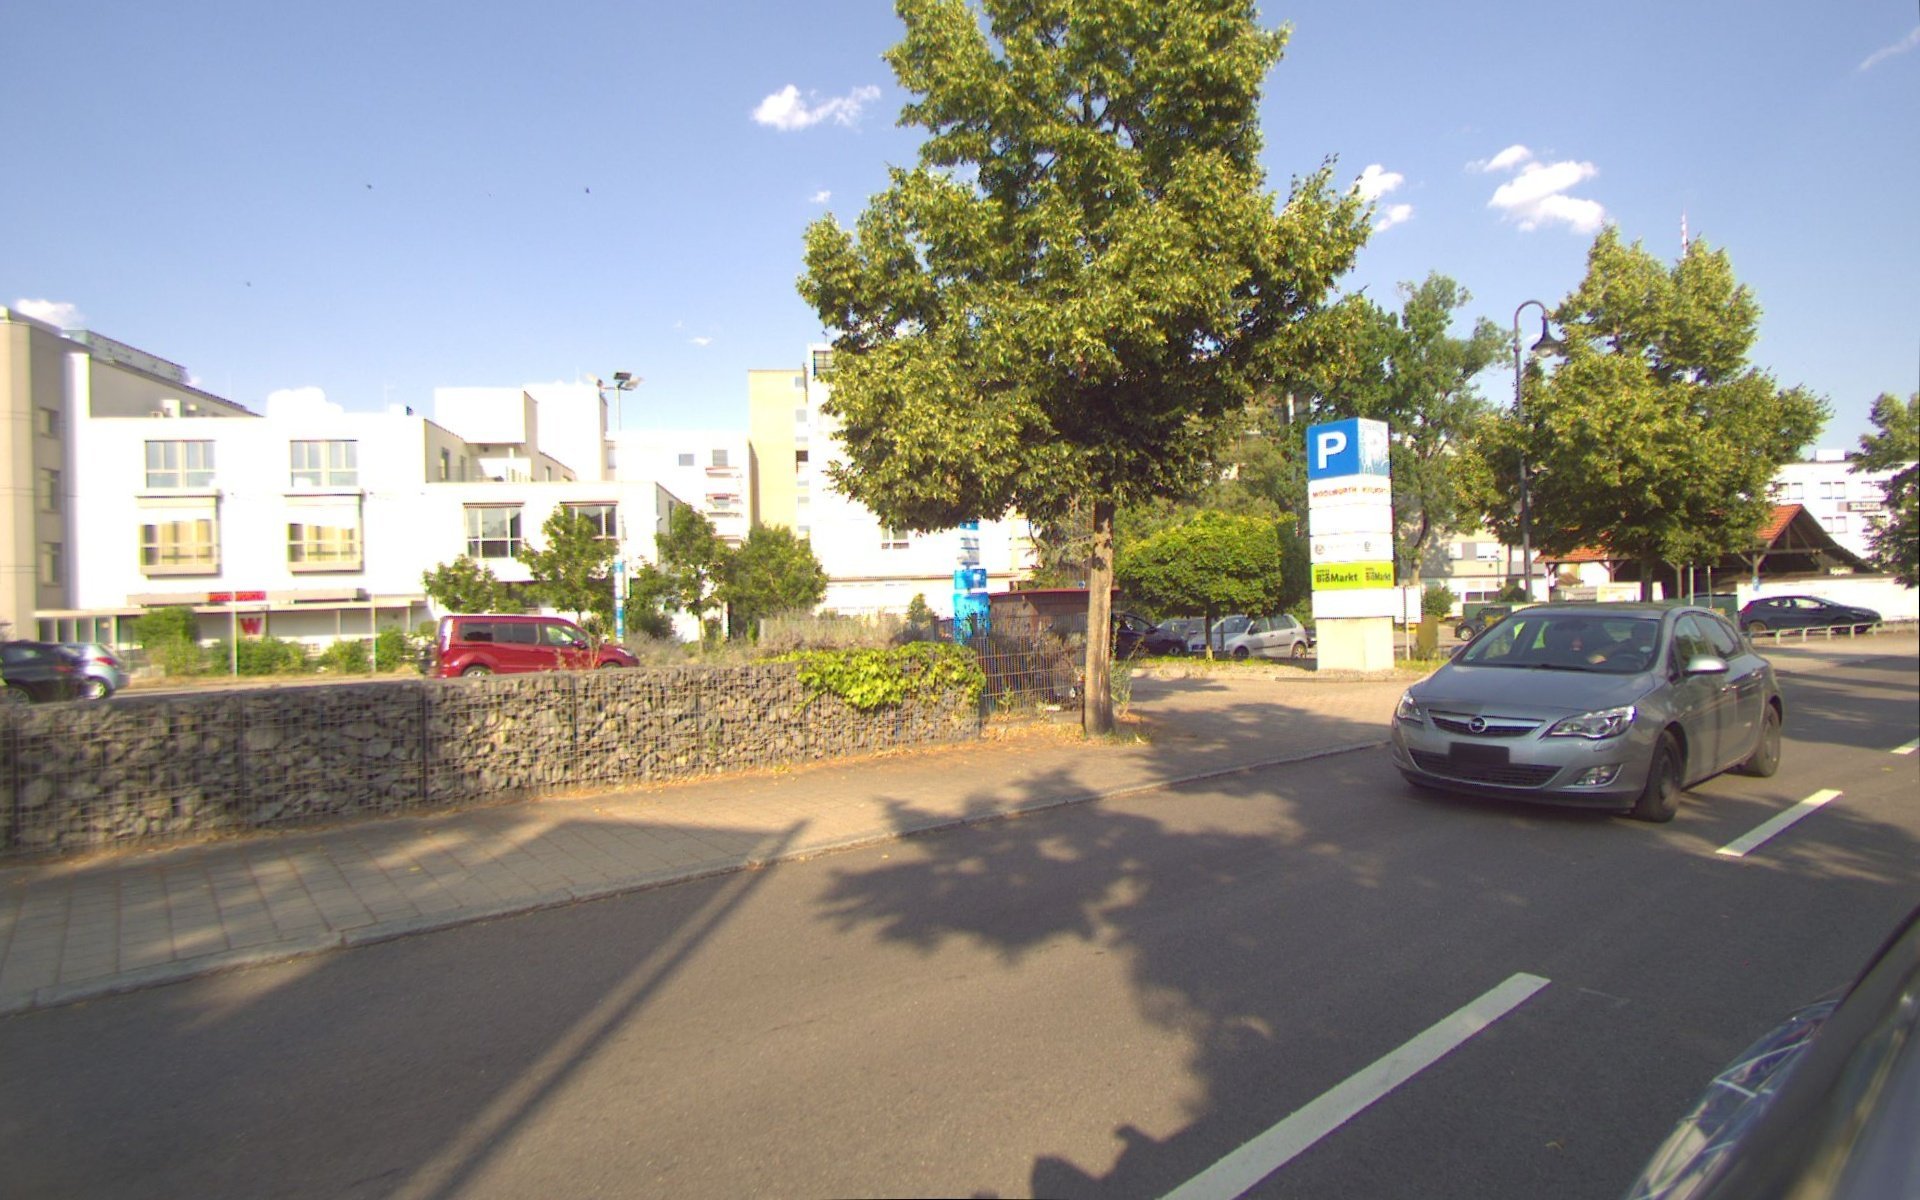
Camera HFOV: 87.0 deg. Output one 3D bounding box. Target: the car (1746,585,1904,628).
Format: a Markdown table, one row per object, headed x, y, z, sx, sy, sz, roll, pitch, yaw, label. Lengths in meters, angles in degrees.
| x | y | z | sx | sy | sz | roll | pitch | yaw | label |
| --- | --- | --- | --- | --- | --- | --- | --- | --- | --- |
| 30.576 | 0.256 | 35.875 | 1.900 | 1.438 | 3.839 | 0 | -1 | -32 | car |

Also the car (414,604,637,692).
| x | y | z | sx | sy | sz | roll | pitch | yaw | label |
| --- | --- | --- | --- | --- | --- | --- | --- | --- | --- |
| -10.350 | 1.078 | 24.248 | 4.562 | 1.878 | 1.998 | 0 | -1 | -38 | car |

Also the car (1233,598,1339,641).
| x | y | z | sx | sy | sz | roll | pitch | yaw | label |
| --- | --- | --- | --- | --- | --- | --- | --- | --- | --- |
| 13.741 | 0.822 | 42.874 | 1.899 | 1.676 | 4.088 | -1 | -1 | -29 | car |

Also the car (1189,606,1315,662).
| x | y | z | sx | sy | sz | roll | pitch | yaw | label |
| --- | --- | --- | --- | --- | --- | --- | --- | --- | --- |
| 8.036 | 0.911 | 27.803 | 3.204 | 1.417 | 1.616 | -1 | -1 | -34 | car |

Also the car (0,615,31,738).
| x | y | z | sx | sy | sz | roll | pitch | yaw | label |
| --- | --- | --- | --- | --- | --- | --- | --- | --- | --- |
| -14.475 | 1.042 | 12.341 | 4.465 | 1.552 | 1.997 | 0 | -3 | -39 | car |

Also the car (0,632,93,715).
| x | y | z | sx | sy | sz | roll | pitch | yaw | label |
| --- | --- | --- | --- | --- | --- | --- | --- | --- | --- |
| -18.907 | 1.387 | 18.567 | 4.465 | 1.462 | 1.998 | 0 | -1 | -39 | car |

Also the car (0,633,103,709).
| x | y | z | sx | sy | sz | roll | pitch | yaw | label |
| --- | --- | --- | --- | --- | --- | --- | --- | --- | --- |
| -20.292 | 1.481 | 20.898 | 3.881 | 1.462 | 1.998 | 0 | -1 | -38 | car |

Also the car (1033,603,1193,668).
| x | y | z | sx | sy | sz | roll | pitch | yaw | label |
| --- | --- | --- | --- | --- | --- | --- | --- | --- | --- |
| 3.856 | 0.854 | 25.378 | 3.790 | 1.481 | 1.659 | -1 | -1 | -32 | car |

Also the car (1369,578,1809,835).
| x | y | z | sx | sy | sz | roll | pitch | yaw | label |
| --- | --- | --- | --- | --- | --- | --- | --- | --- | --- |
| 5.117 | 0.614 | 7.988 | 4.230 | 1.509 | 1.724 | 0 | 0 | -40 | car |

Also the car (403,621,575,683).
| x | y | z | sx | sy | sz | roll | pitch | yaw | label |
| --- | --- | --- | --- | --- | --- | --- | --- | --- | --- |
| -14.418 | 1.531 | 31.093 | 4.464 | 1.669 | 1.998 | 0 | -1 | -38 | car |

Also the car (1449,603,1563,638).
| x | y | z | sx | sy | sz | roll | pitch | yaw | label |
| --- | --- | --- | --- | --- | --- | --- | --- | --- | --- |
| 23.924 | 0.884 | 44.458 | 1.900 | 1.438 | 4.001 | 0 | -1 | -32 | car |

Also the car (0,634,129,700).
| x | y | z | sx | sy | sz | roll | pitch | yaw | label |
| --- | --- | --- | --- | --- | --- | --- | --- | --- | --- |
| -23.041 | 1.632 | 24.488 | 4.465 | 1.462 | 1.876 | 0 | -1 | -39 | car |
